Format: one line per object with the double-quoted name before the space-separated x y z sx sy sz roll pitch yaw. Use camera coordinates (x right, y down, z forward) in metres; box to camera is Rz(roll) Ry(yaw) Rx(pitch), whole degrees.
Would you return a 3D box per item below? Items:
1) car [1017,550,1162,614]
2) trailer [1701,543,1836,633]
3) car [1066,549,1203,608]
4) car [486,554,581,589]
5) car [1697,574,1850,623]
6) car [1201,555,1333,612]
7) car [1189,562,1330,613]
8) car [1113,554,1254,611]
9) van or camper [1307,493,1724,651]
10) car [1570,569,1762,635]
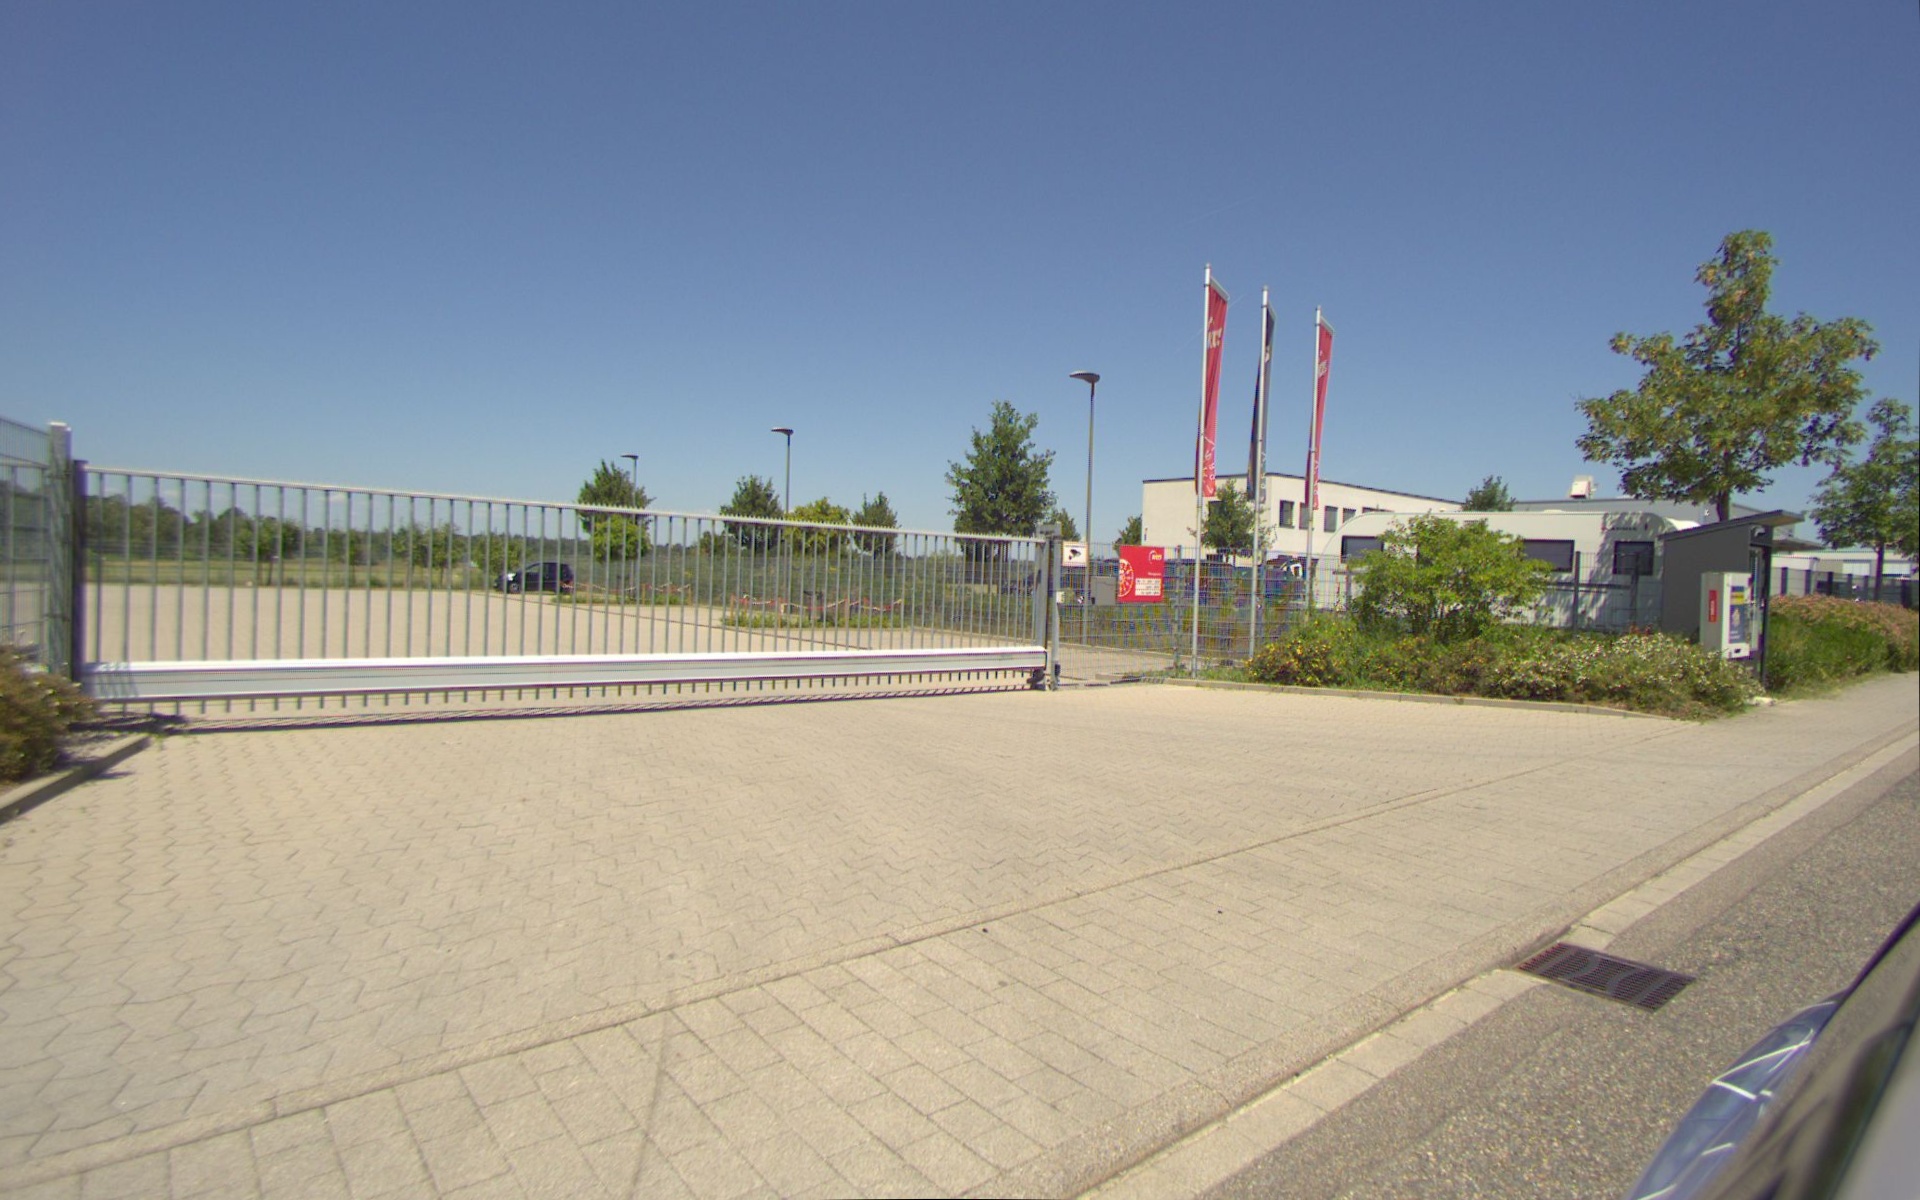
"car" 3.538 -0.551 28.140 1.719 1.595 3.830 0 3 -40
"trailer" 23.623 -0.390 29.631 1.396 2.432 2.826 0 3 -43
"car" 5.102 -0.672 29.957 1.649 1.561 3.830 0 3 -40
"car" -18.970 -1.226 45.037 3.542 1.475 1.764 0 0 -41
"car" 29.181 -0.094 36.392 1.790 1.540 3.996 0 3 -40
"car" 10.814 -0.633 35.833 1.884 1.828 4.051 0 3 -40
"car" 9.583 -0.443 32.644 1.717 1.449 4.051 0 3 -40
"car" 6.878 -0.583 31.422 1.717 1.567 4.051 0 3 -40
"van or camper" 10.696 -0.619 20.160 2.589 2.616 6.773 0 2 -40
"car" 18.632 -0.004 26.836 1.776 1.457 3.846 0 4 -43
